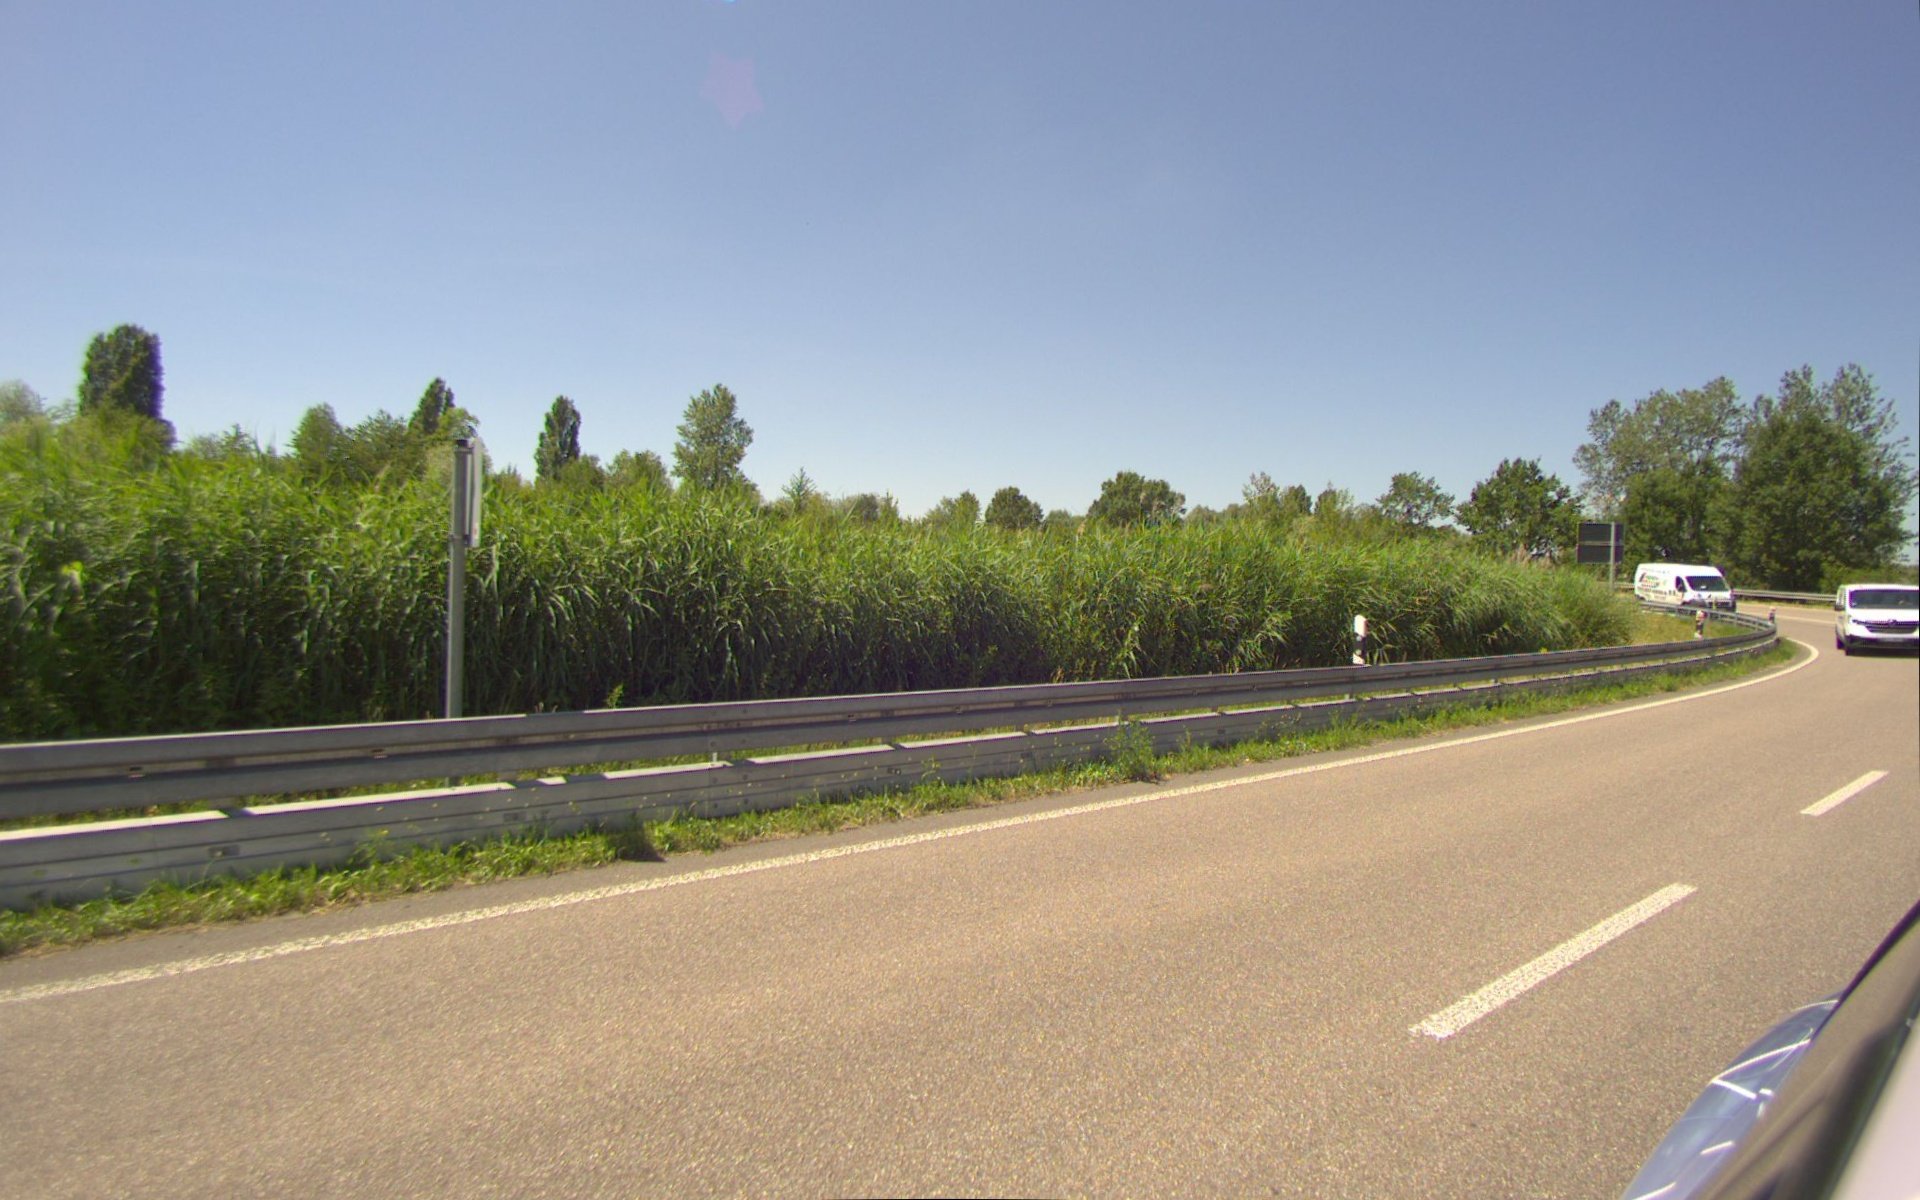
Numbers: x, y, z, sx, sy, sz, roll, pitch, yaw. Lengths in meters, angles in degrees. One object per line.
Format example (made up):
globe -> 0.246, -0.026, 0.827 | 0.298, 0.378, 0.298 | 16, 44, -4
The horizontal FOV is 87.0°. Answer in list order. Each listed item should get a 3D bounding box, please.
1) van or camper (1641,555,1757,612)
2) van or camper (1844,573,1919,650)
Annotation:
van or camper -> 36.994, -0.917, 50.901 | 2.040, 2.585, 6.038 | -2, 3, 8
van or camper -> 27.128, 0.298, 29.244 | 1.999, 2.057, 5.374 | 0, 0, 37
